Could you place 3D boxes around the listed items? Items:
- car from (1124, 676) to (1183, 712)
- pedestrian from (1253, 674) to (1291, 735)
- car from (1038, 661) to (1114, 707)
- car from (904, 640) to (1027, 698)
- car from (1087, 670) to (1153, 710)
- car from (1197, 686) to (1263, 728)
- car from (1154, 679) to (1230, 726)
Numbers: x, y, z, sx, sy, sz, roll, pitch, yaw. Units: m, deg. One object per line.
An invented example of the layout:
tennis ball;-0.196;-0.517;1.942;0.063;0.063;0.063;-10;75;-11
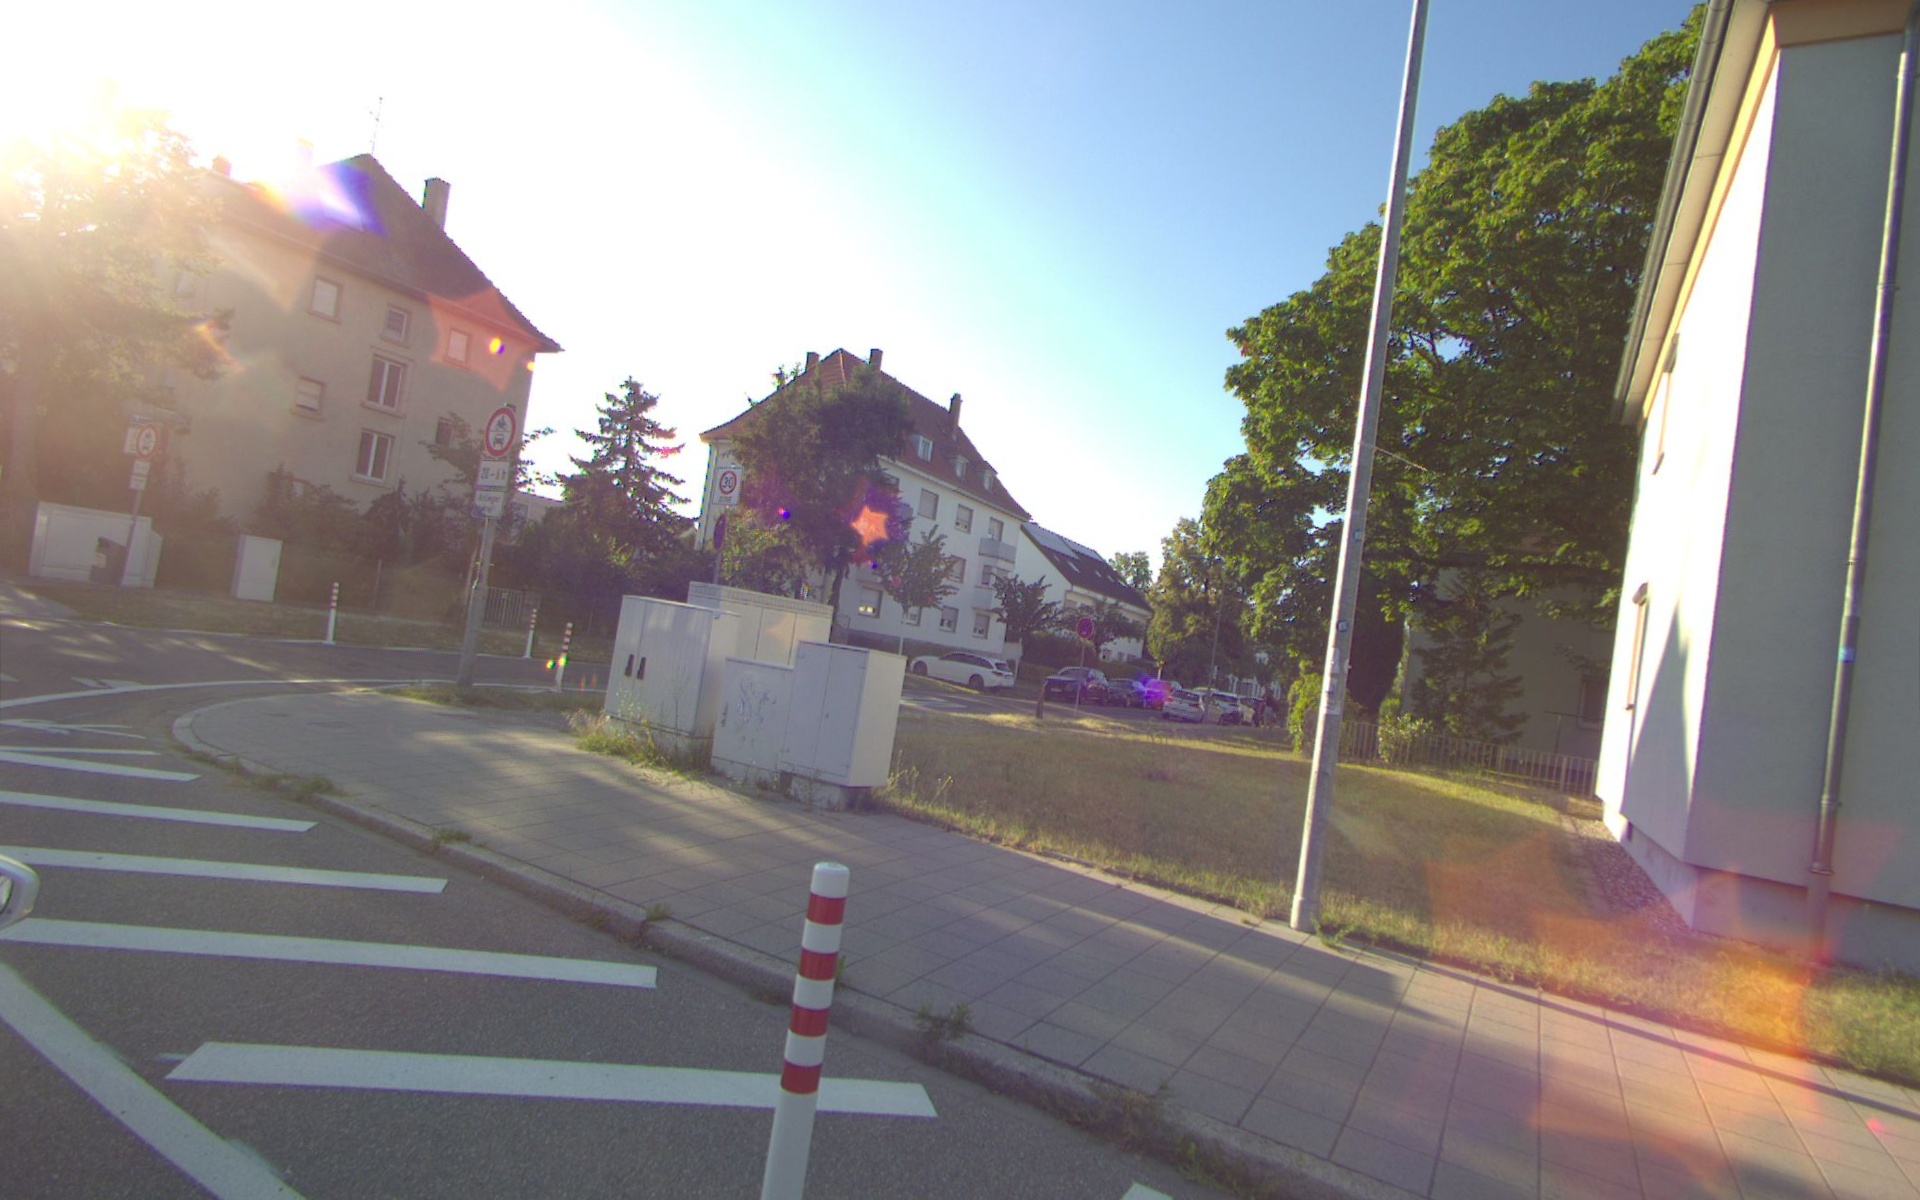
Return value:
car;10.733;5.220;55.560;1.937;1.631;4.248;7;-3;27
pedestrian;11.183;3.753;36.081;0.885;2.036;0.691;7;-2;36
car;5.270;3.789;45.190;1.937;1.631;4.248;7;-3;27
car;0.216;2.933;43.102;4.754;1.632;1.971;8;-2;29
car;8.151;4.600;50.981;1.937;1.631;4.248;7;-3;27
car;13.004;5.163;48.296;1.938;1.631;4.246;7;-3;30
car;10.082;4.457;43.483;1.938;1.631;4.246;7;-3;30
